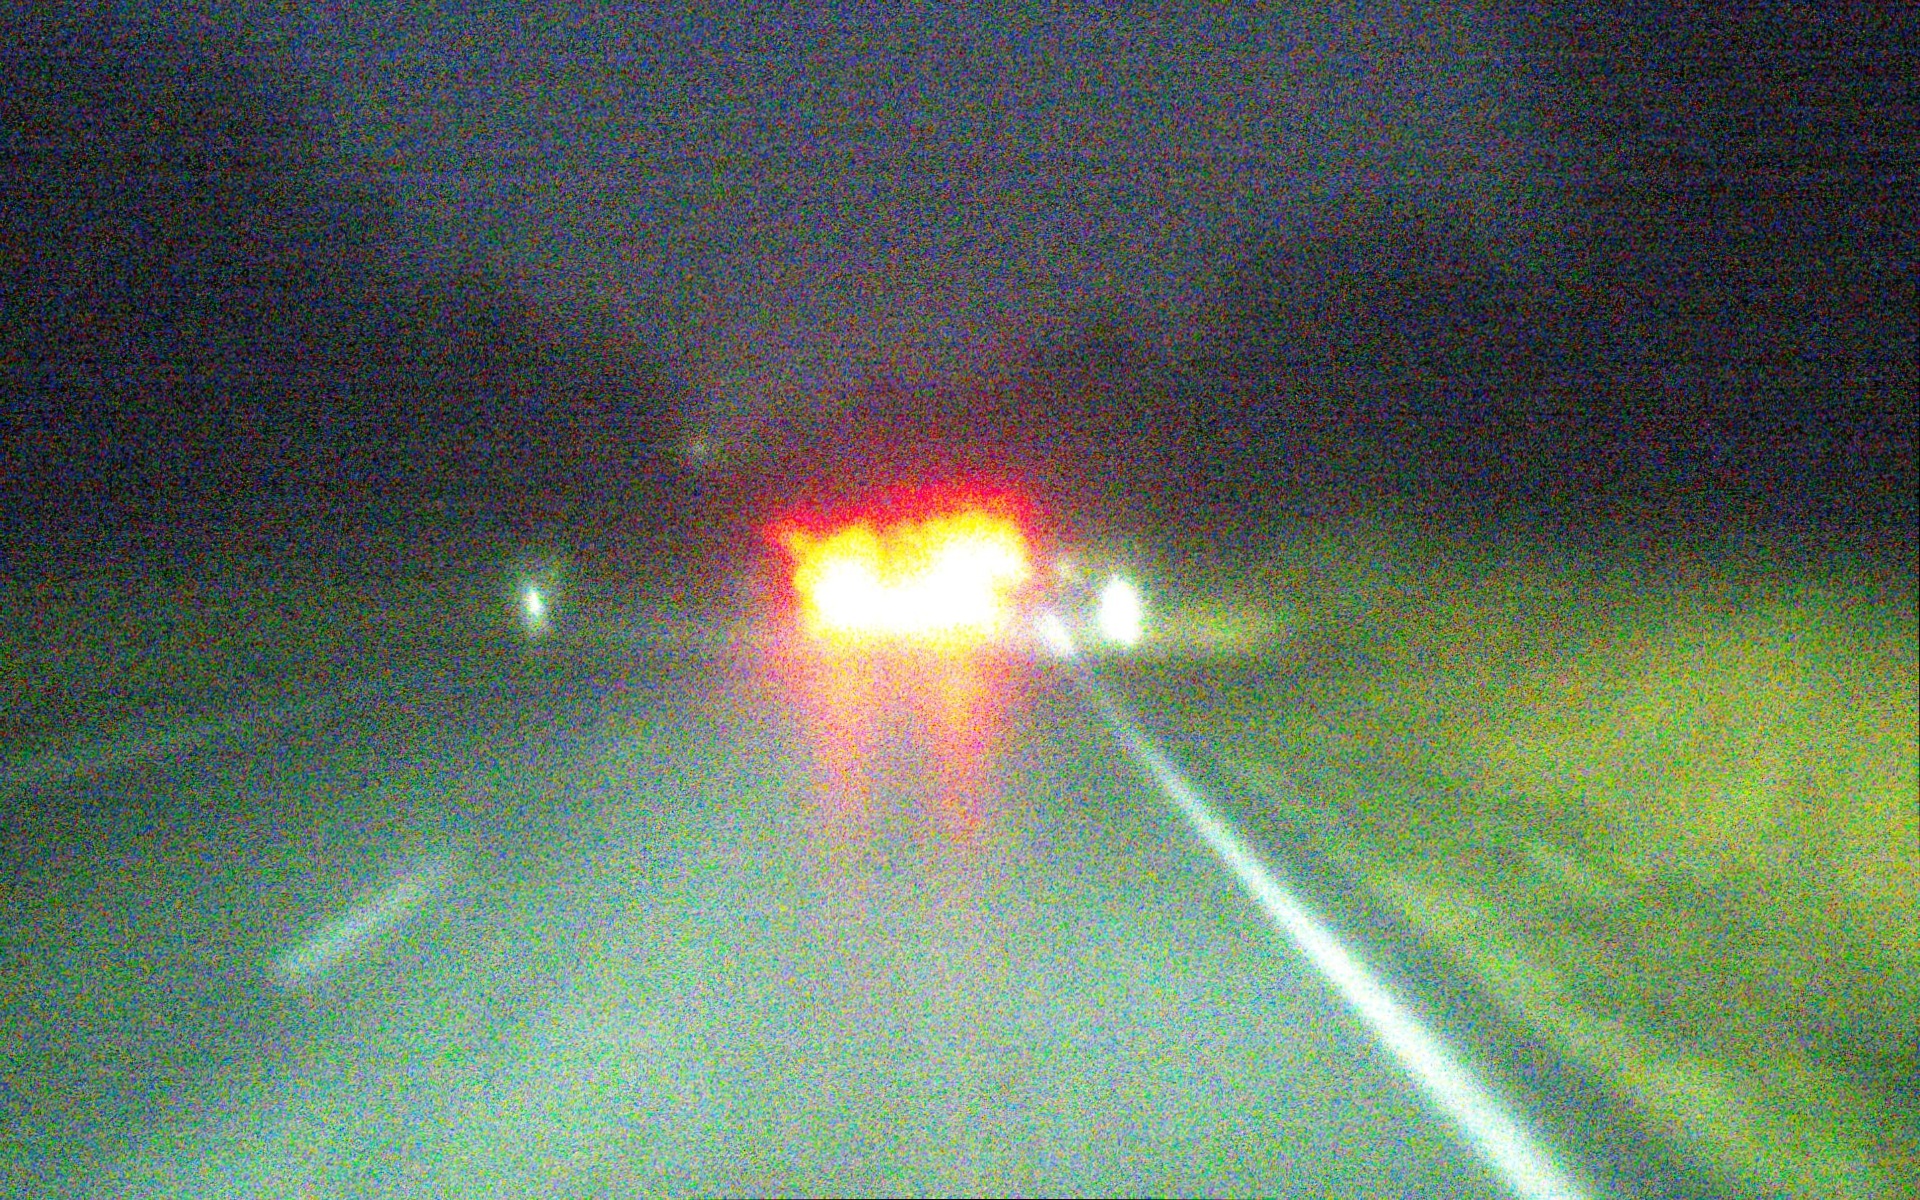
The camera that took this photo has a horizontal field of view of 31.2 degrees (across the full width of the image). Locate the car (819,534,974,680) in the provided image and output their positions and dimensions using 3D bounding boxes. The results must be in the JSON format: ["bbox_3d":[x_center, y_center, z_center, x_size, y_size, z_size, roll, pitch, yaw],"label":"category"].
[{"bbox_3d":[-0.751,0.046,43.176,1.842,1.734,4.000,0,1,0],"label":"car"}]
